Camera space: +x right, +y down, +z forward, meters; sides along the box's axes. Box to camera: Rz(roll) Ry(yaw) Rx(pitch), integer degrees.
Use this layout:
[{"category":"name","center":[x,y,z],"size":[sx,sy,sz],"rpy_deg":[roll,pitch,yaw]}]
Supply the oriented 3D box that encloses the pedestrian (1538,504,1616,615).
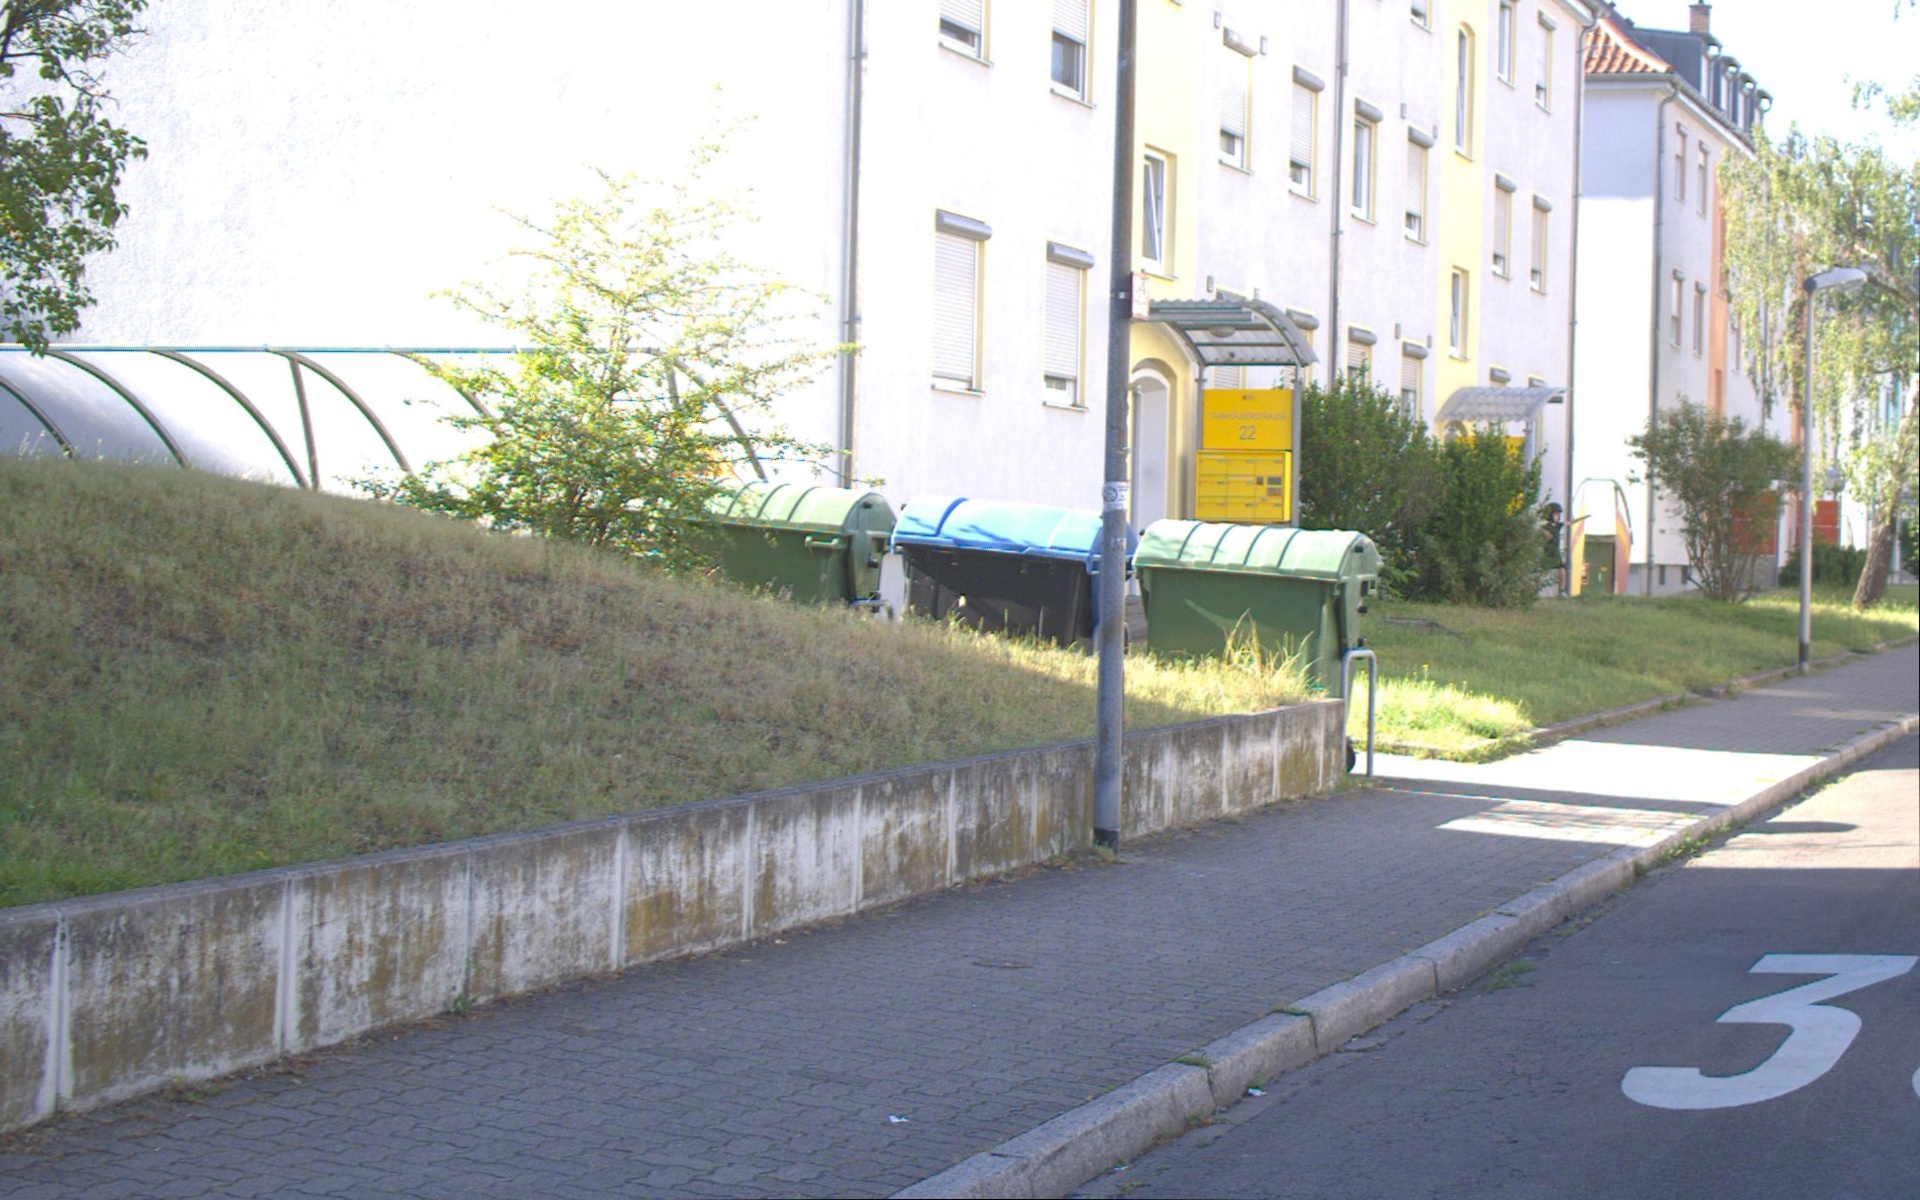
[{"category":"pedestrian","center":[8.646,-0.567,48.138],"size":[0.864,1.516,1.067],"rpy_deg":[2,1,20]}]

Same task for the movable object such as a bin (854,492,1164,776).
[{"category":"movable object such as a bin","center":[0.310,0.185,20.801],"size":[1.500,1.617,1.262],"rpy_deg":[2,1,20]}]

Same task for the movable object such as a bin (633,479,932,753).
[{"category":"movable object such as a bin","center":[-1.087,0.081,21.289],"size":[1.460,1.608,1.190],"rpy_deg":[2,1,20]}]

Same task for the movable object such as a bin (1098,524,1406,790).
[{"category":"movable object such as a bin","center":[1.742,0.313,20.360],"size":[1.493,1.473,1.263],"rpy_deg":[2,1,20]}]
